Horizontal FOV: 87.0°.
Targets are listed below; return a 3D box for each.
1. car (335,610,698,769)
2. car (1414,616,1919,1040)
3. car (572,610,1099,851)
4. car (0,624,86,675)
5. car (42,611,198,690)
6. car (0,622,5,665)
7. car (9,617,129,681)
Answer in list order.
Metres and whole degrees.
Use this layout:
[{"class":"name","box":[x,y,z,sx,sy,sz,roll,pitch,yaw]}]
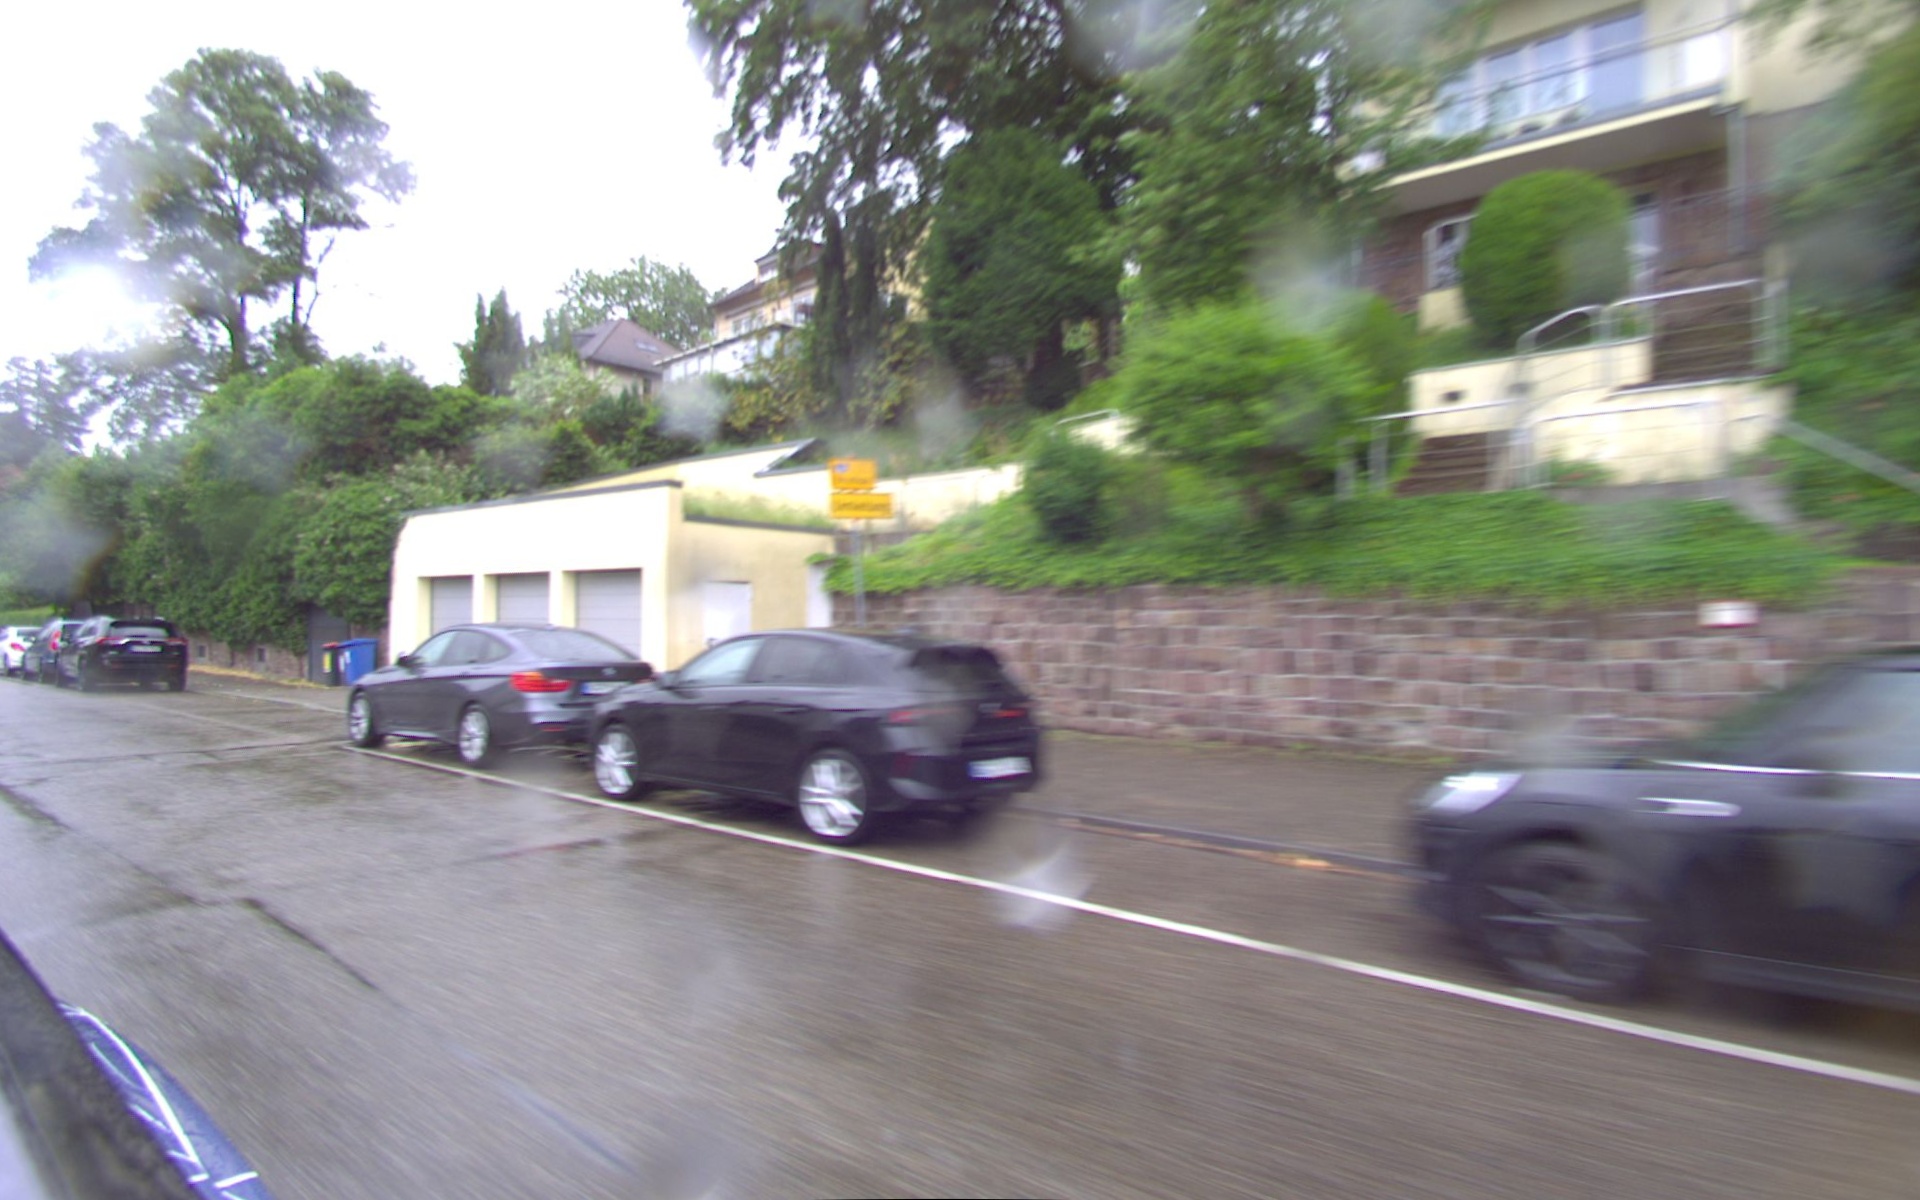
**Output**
[{"class":"car","box":[-5.205,0.908,11.556,4.749,1.466,1.768,-1,-4,39]},{"class":"car","box":[3.924,0.753,3.734,3.773,1.360,1.790,-1,-3,40]},{"class":"car","box":[-1.156,0.836,8.042,4.214,1.426,1.767,-1,-3,40]},{"class":"car","box":[-27.173,1.433,29.451,4.075,1.376,1.701,-1,-4,36]},{"class":"car","box":[-19.392,1.143,23.298,4.588,1.638,1.855,-1,-4,39]},{"class":"car","box":[-35.913,1.495,36.156,4.750,1.492,1.889,0,-3,39]},{"class":"car","box":[-23.522,1.257,26.679,4.105,1.573,1.724,-1,-3,40]}]
